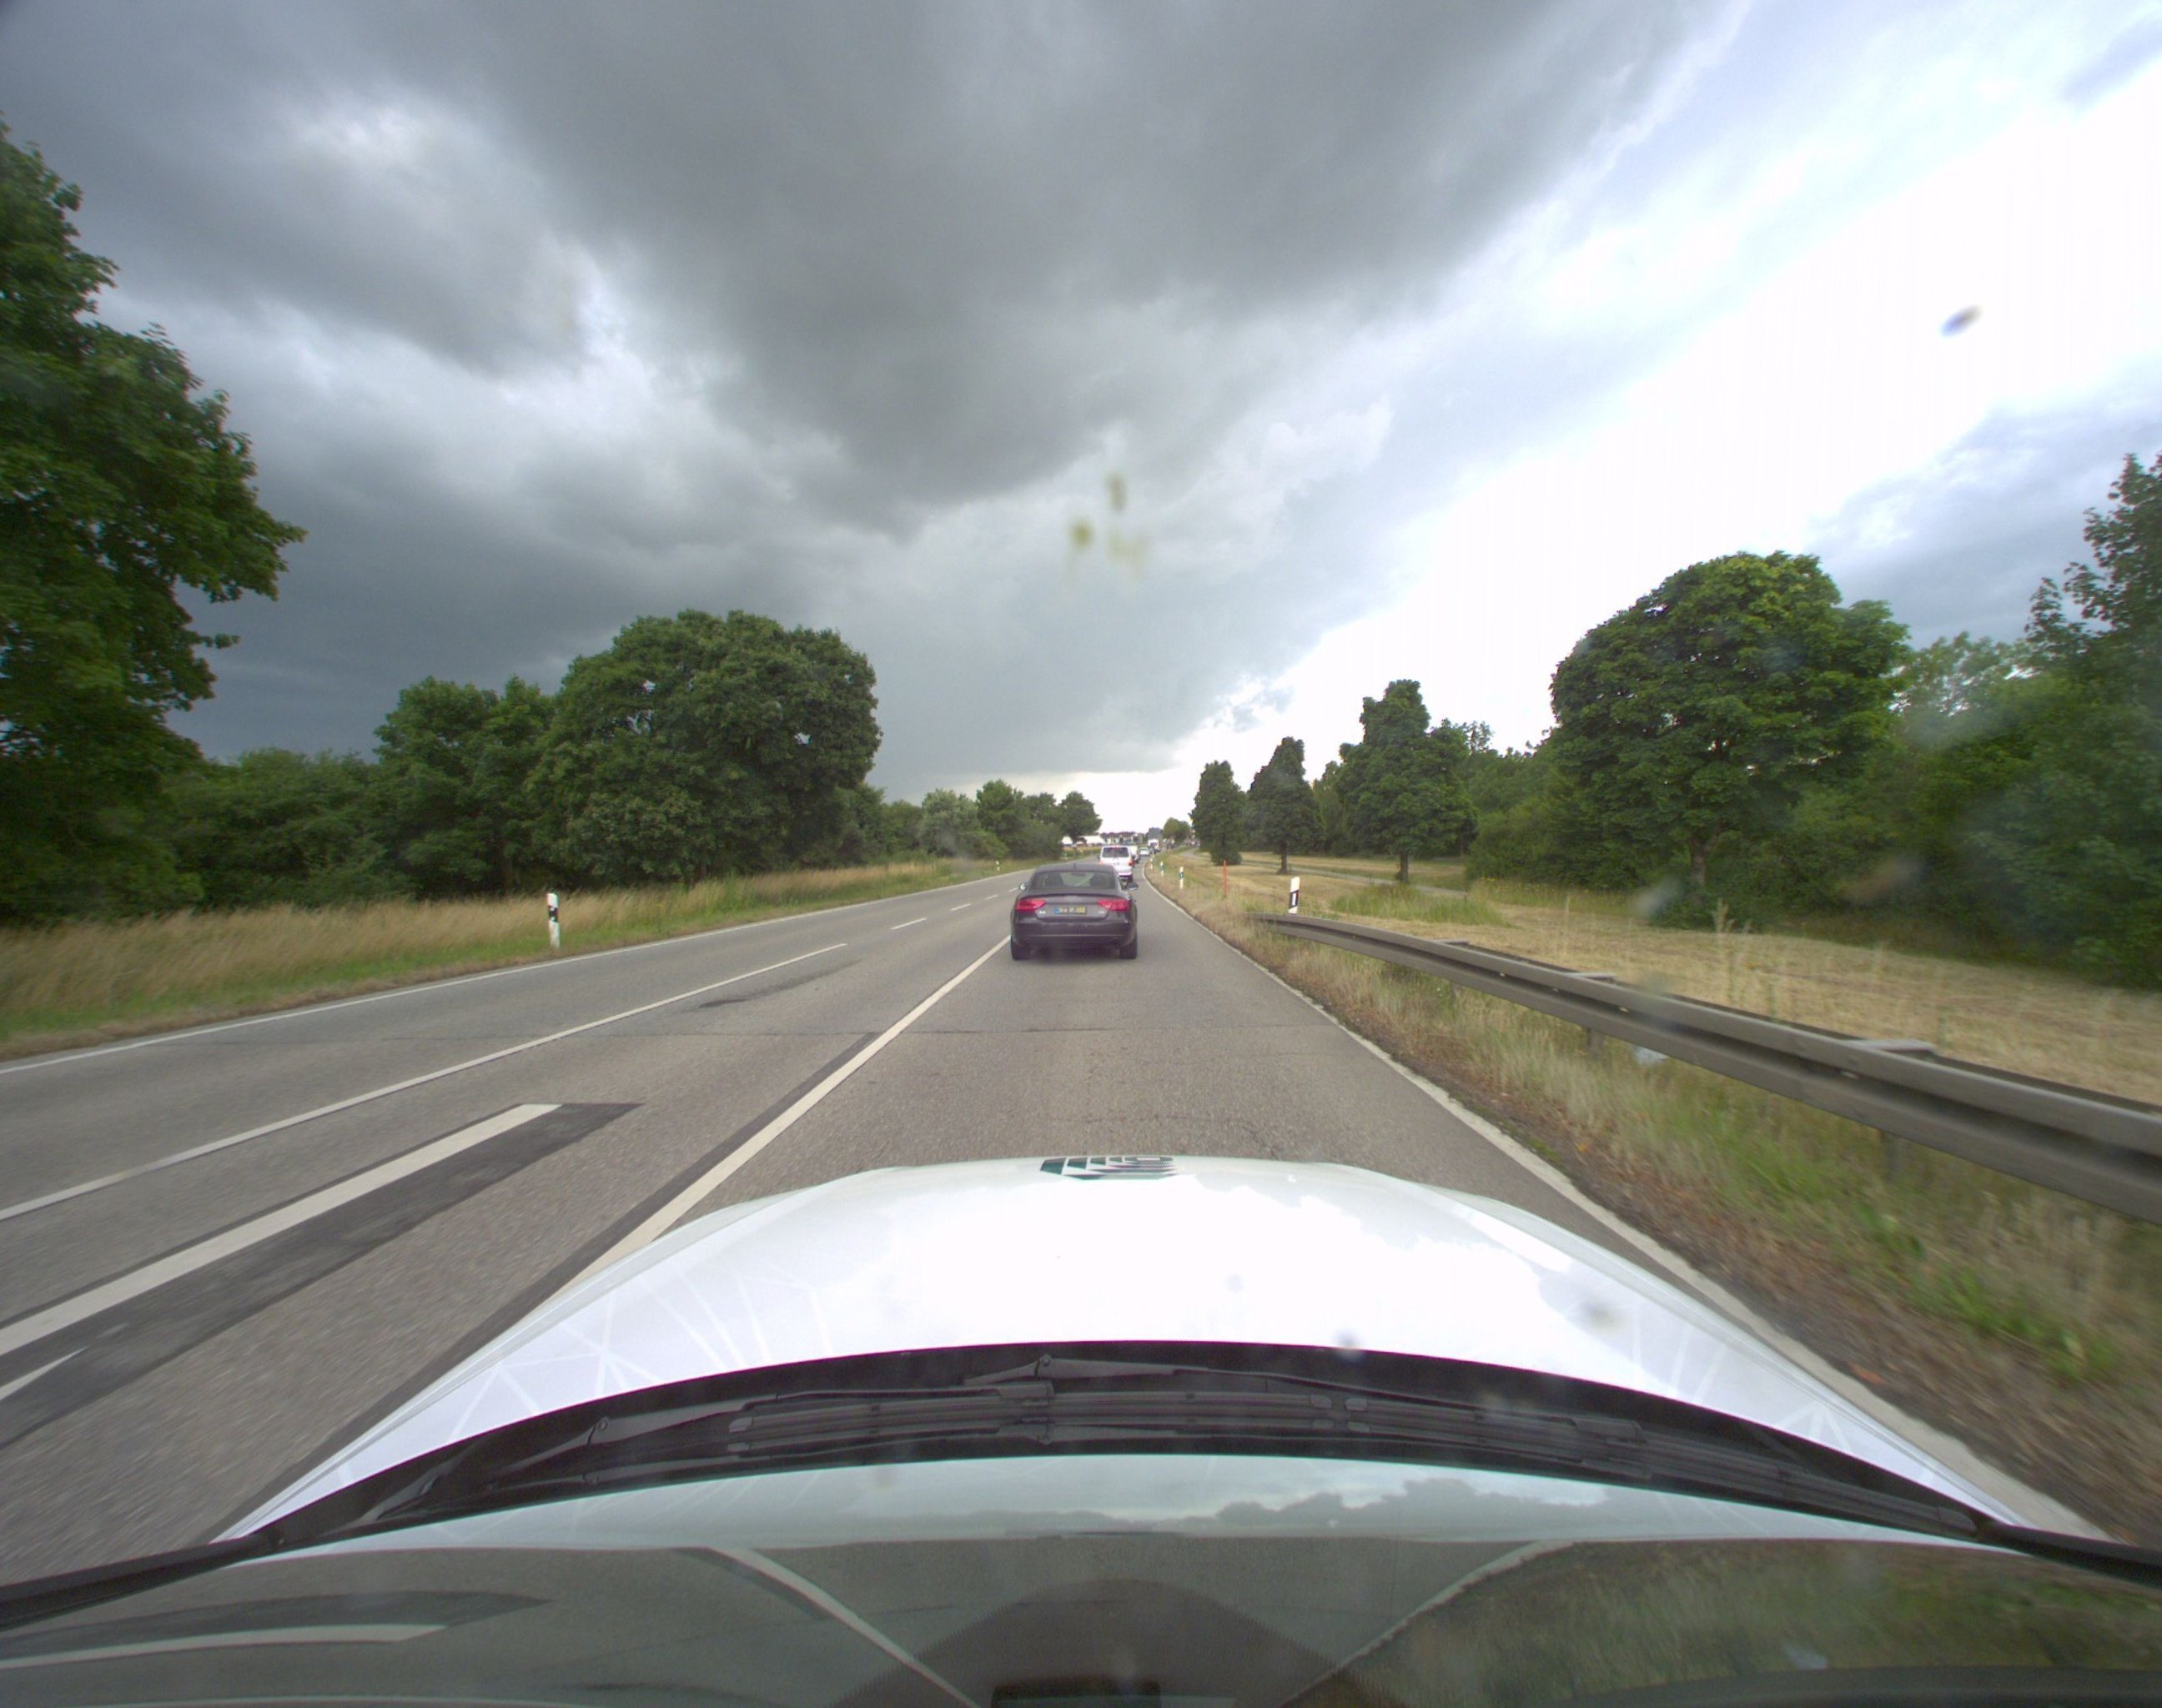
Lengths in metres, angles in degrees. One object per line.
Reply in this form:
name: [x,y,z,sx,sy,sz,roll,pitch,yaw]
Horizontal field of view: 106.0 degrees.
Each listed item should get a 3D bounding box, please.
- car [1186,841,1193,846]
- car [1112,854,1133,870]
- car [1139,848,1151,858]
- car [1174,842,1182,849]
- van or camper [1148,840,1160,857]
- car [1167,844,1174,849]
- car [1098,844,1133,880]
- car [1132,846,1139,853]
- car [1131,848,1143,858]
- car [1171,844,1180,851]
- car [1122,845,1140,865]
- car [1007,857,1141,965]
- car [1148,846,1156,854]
car: [34.153,-3.205,255.466,1.814,1.493,4.003,0,0,2]
car: [3.854,0.734,74.932,1.787,1.464,3.253,-1,0,5]
car: [10.328,-0.219,131.048,1.726,1.514,3.754,-1,0,7]
car: [24.633,-2.122,207.526,1.814,1.596,4.003,0,0,2]
van or camper: [15.055,-1.138,167.436,2.329,3.481,5.726,-1,0,5]
car: [23.382,-1.943,212.660,1.712,1.451,4.003,0,0,2]
car: [1.889,0.421,44.875,1.832,1.882,4.001,0,1,1]
car: [13.958,-1.062,208.752,1.589,1.802,3.202,0,0,2]
car: [7.546,-0.113,109.501,1.528,1.277,3.751,-1,0,4]
car: [27.268,-1.952,235.356,1.986,2.013,4.001,-1,0,1]
car: [5.616,0.095,91.253,1.984,2.088,4.005,-1,0,4]
car: [-0.046,0.766,12.863,1.776,1.376,4.001,0,1,1]
car: [12.912,-0.701,148.655,1.251,1.353,3.473,-1,0,7]
